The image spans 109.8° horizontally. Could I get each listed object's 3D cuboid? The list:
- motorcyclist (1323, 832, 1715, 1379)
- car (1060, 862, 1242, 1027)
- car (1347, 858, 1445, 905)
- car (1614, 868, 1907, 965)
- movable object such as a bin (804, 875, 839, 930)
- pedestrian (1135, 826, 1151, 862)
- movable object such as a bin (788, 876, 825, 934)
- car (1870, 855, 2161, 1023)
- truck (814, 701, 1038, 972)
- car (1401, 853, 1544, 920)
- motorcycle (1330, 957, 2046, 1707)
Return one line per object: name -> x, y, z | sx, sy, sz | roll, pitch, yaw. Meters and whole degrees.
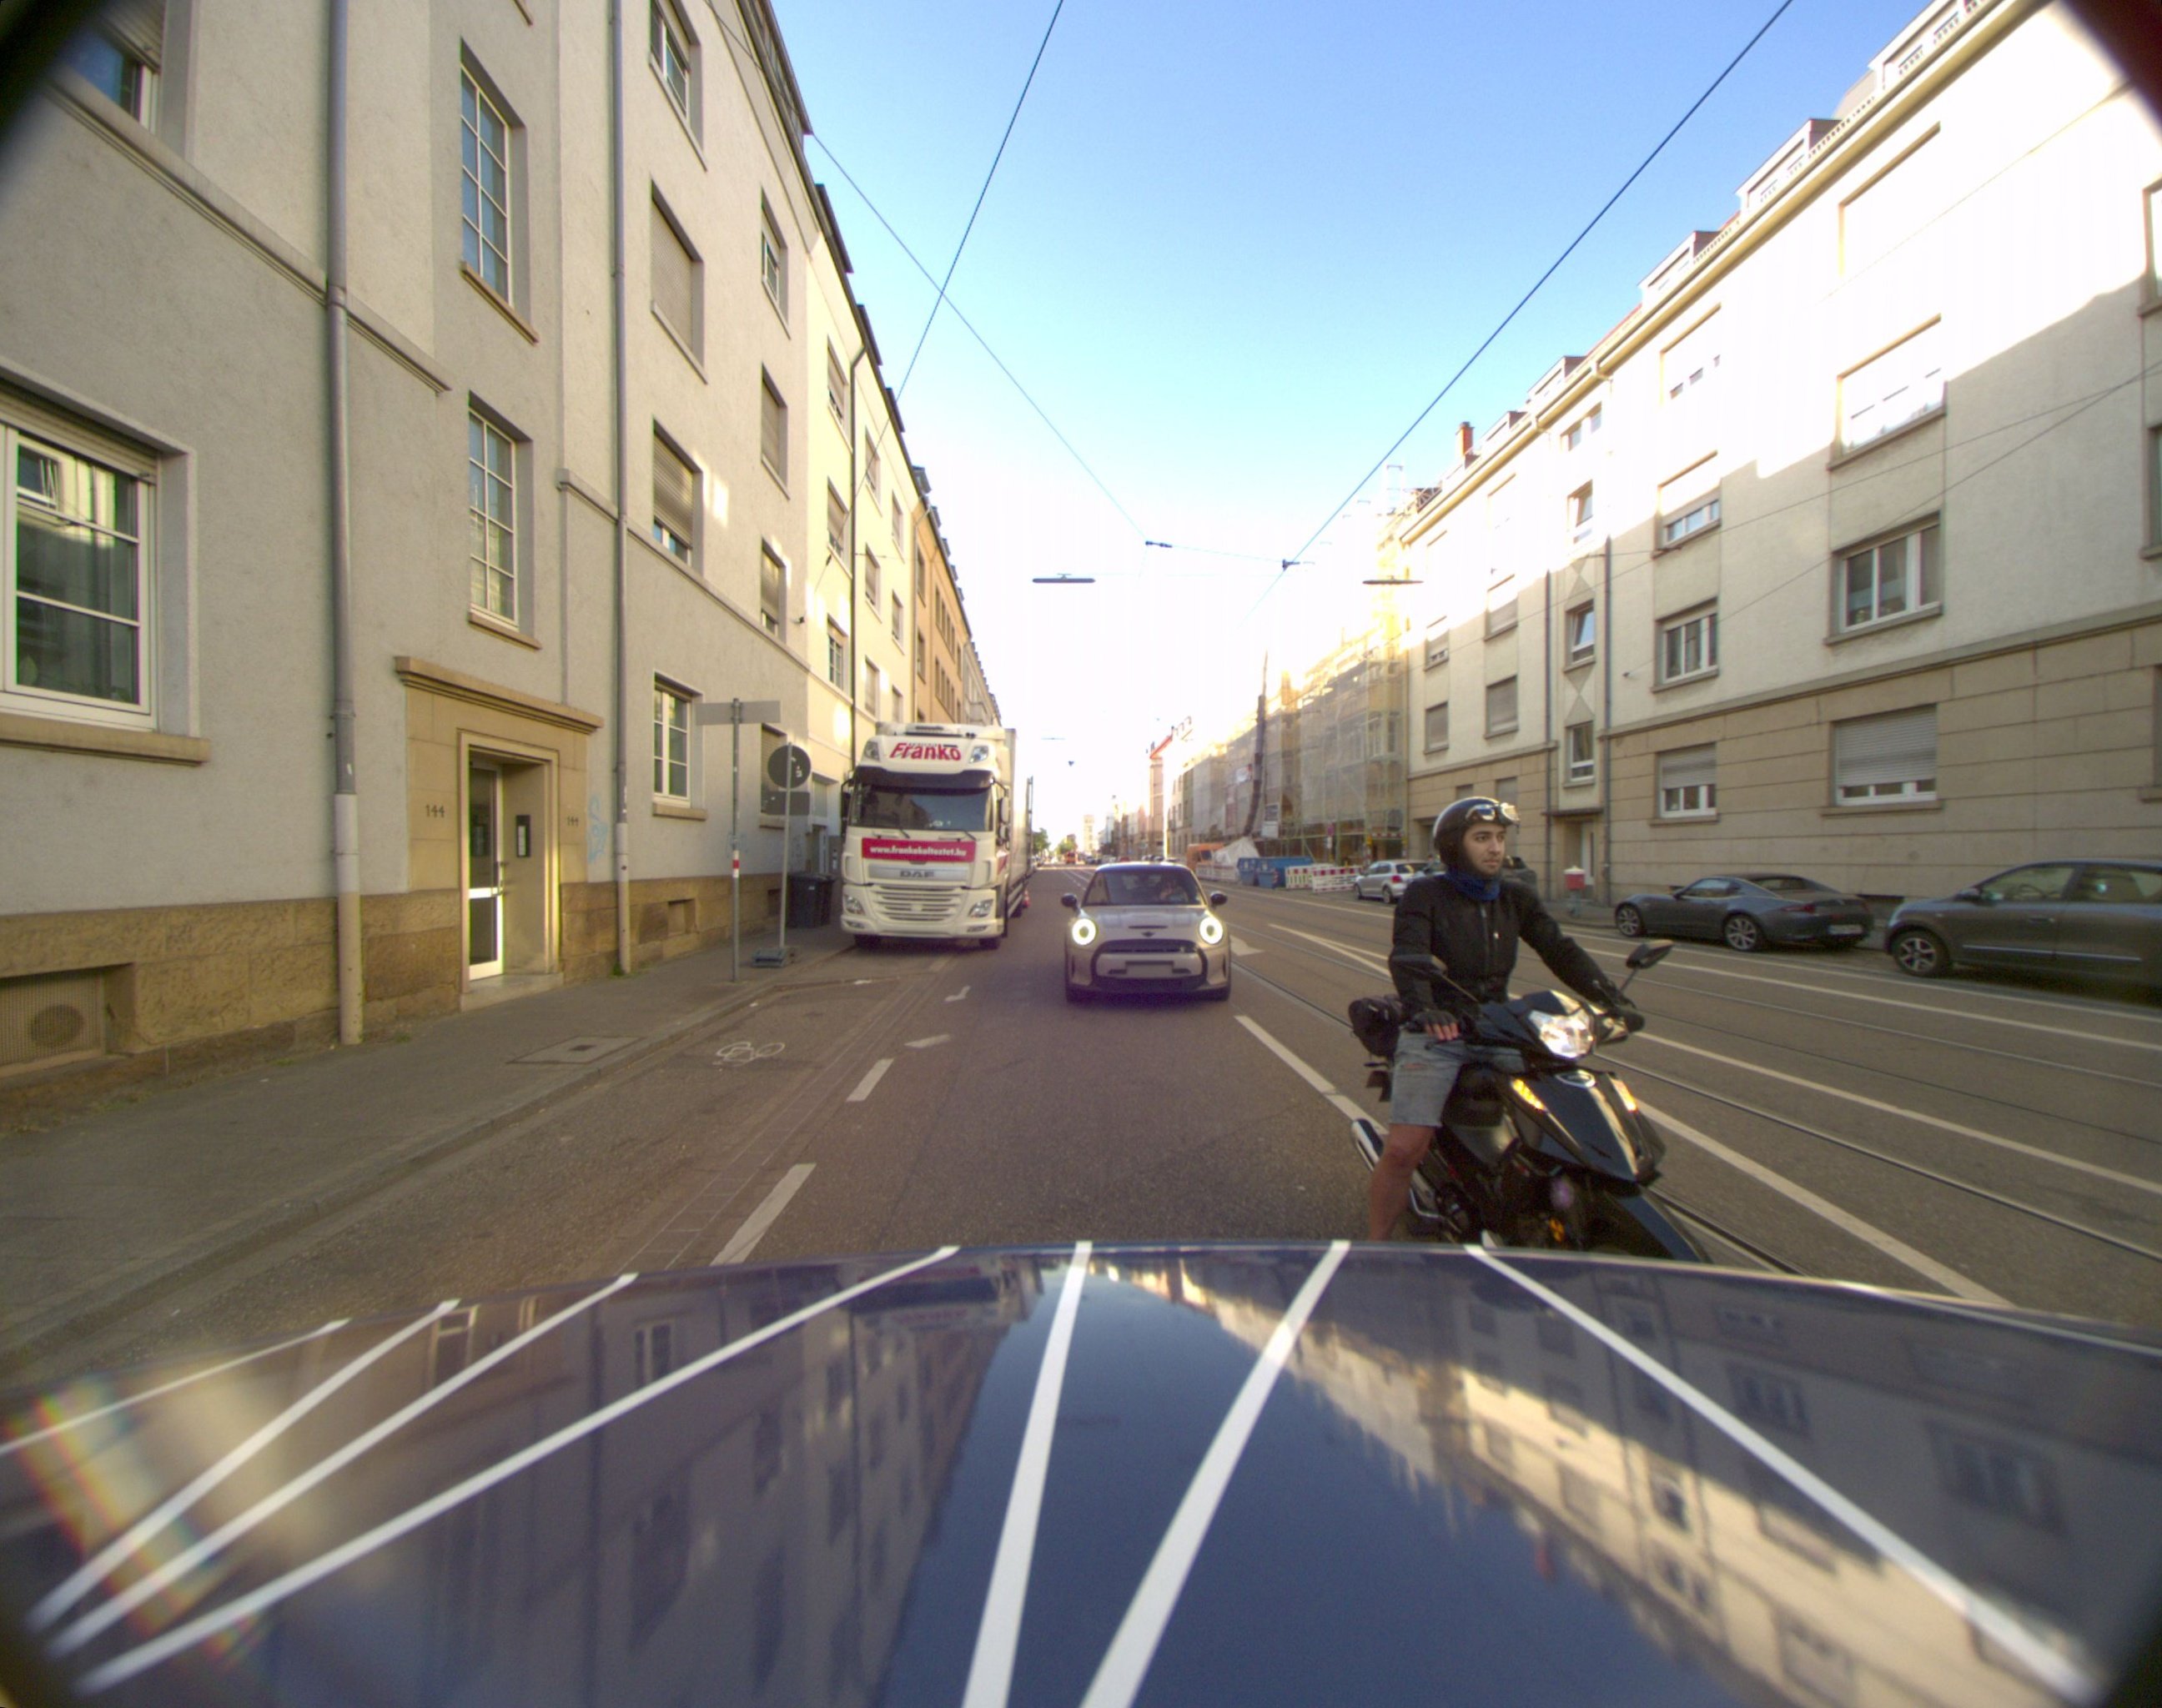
motorcyclist -> 1.312, 0.700, 2.403 | 0.862, 1.496, 0.598 | -2, 1, 1
car -> 0.646, 0.862, 9.066 | 1.692, 1.495, 4.000 | 0, 0, 0
car -> 10.624, 0.871, 25.882 | 1.637, 1.383, 3.643 | -2, 1, -3
car -> 11.246, 0.947, 12.940 | 1.751, 1.269, 3.488 | -2, 1, -4
movable object such as a bin -> -5.323, 0.985, 15.611 | 0.512, 1.085, 0.495 | -2, 1, -4
pedestrian -> 7.681, -1.286, 94.362 | 1.723, 4.377, 1.153 | -2, 1, 2
movable object such as a bin -> -5.409, 0.992, 14.998 | 0.512, 1.085, 0.495 | -2, 1, -4
car -> 11.415, 0.840, 8.396 | 1.670, 1.563, 3.496 | -2, 1, -2
truck -> -2.635, -0.253, 17.181 | 2.899, 3.939, 11.704 | -2, 0, -2
car -> 10.803, 0.820, 21.319 | 1.712, 1.582, 4.112 | -2, 1, -3
motorcycle -> 1.339, 1.066, 2.252 | 0.538, 1.212, 1.981 | -2, 1, 1
